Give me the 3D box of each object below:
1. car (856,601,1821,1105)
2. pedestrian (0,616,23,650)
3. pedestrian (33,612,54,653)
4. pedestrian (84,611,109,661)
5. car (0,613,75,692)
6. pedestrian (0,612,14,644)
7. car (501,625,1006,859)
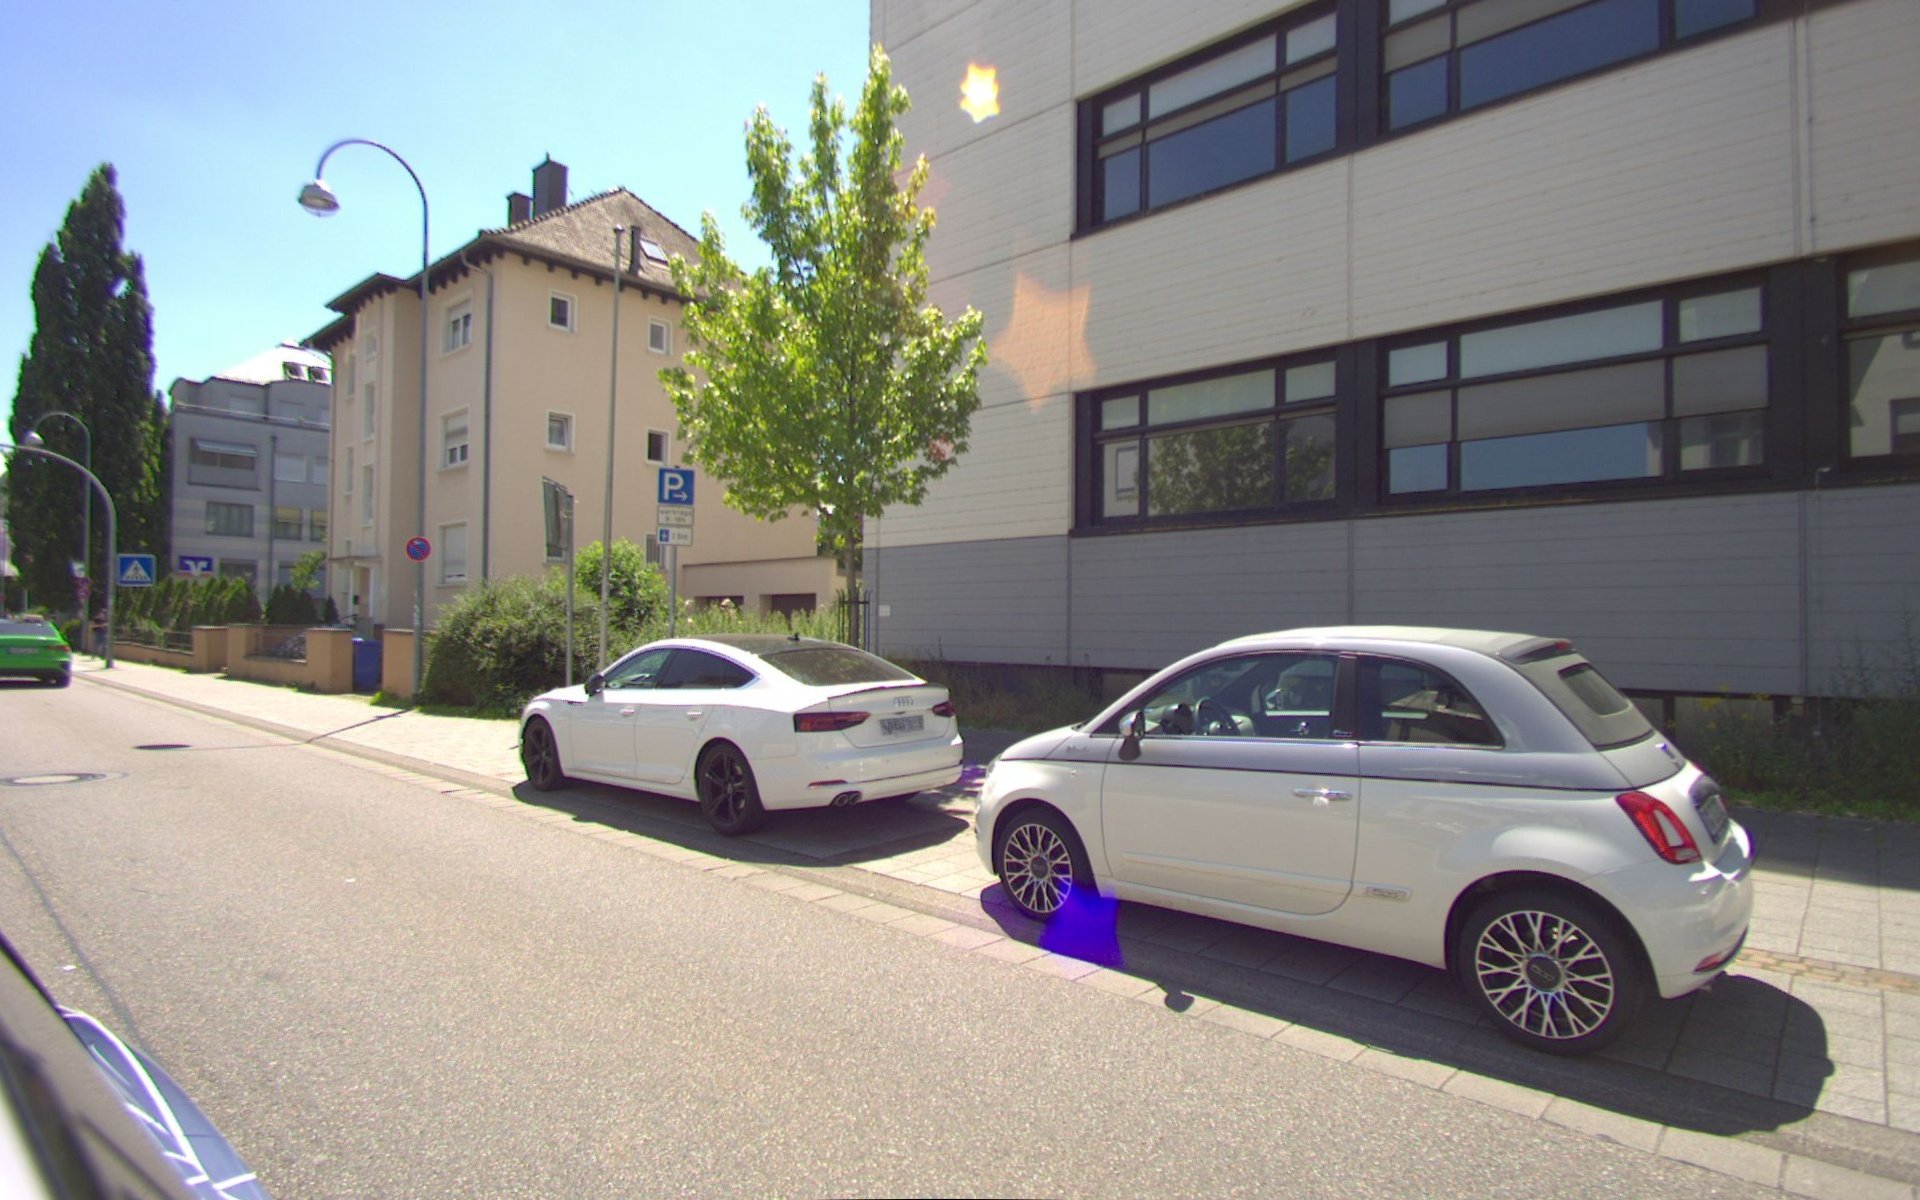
[{"bbox_3d":[1.572,0.809,5.198,4.289,1.523,1.803,-1,-2,42],"label":"car"},{"bbox_3d":[-48.090,1.667,51.277,0.751,1.657,0.836,0,1,43],"label":"pedestrian"},{"bbox_3d":[-38.133,1.338,42.099,0.708,1.698,0.531,-1,-2,42],"label":"pedestrian"},{"bbox_3d":[-29.494,1.216,34.580,0.708,1.698,0.531,-1,-2,42],"label":"pedestrian"},{"bbox_3d":[-20.847,1.092,22.089,4.099,1.600,1.803,-1,-3,42],"label":"car"},{"bbox_3d":[-53.810,1.557,56.940,0.951,1.784,0.740,-1,-2,41],"label":"pedestrian"},{"bbox_3d":[-1.944,0.929,8.473,4.576,1.422,1.803,-1,-2,42],"label":"car"}]
